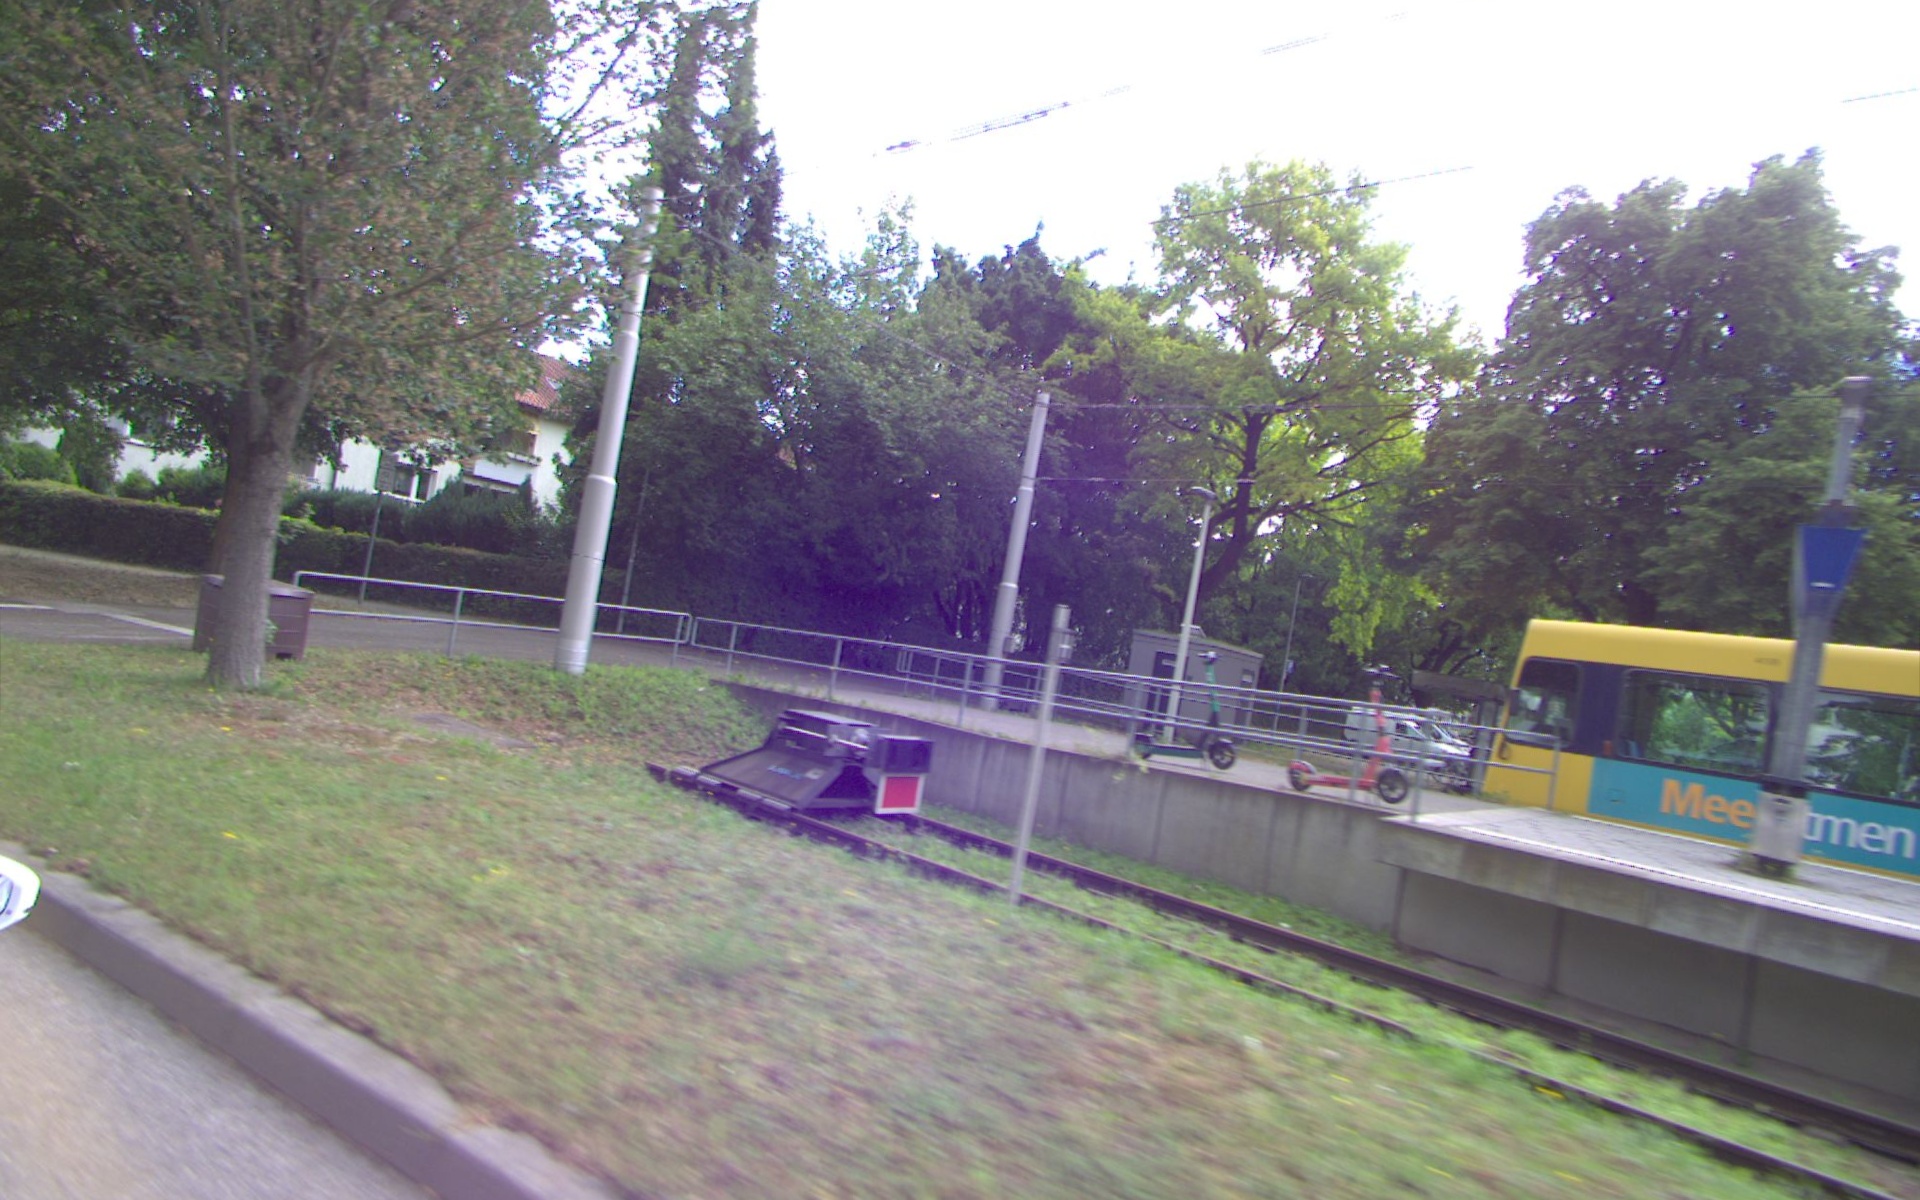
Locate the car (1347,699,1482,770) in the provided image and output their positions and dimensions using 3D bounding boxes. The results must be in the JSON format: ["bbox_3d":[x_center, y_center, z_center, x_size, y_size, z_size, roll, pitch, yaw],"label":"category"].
[{"bbox_3d":[18.059,5.320,40.088,4.390,2.037,1.897,7,-1,41],"label":"car"}]

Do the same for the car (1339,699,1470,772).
[{"bbox_3d":[16.668,5.043,37.765,3.944,2.037,1.897,7,-1,41],"label":"car"}]

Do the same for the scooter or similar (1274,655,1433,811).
[{"bbox_3d":[3.692,1.228,9.467,1.234,1.267,0.430,5,-2,32],"label":"scooter or similar"}]

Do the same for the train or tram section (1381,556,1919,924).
[{"bbox_3d":[14.416,2.266,9.245,19.237,3.626,2.815,7,-4,41],"label":"train or tram section"}]

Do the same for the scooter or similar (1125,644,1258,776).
[{"bbox_3d":[2.538,1.189,11.049,1.233,1.267,0.431,5,-2,29],"label":"scooter or similar"}]
